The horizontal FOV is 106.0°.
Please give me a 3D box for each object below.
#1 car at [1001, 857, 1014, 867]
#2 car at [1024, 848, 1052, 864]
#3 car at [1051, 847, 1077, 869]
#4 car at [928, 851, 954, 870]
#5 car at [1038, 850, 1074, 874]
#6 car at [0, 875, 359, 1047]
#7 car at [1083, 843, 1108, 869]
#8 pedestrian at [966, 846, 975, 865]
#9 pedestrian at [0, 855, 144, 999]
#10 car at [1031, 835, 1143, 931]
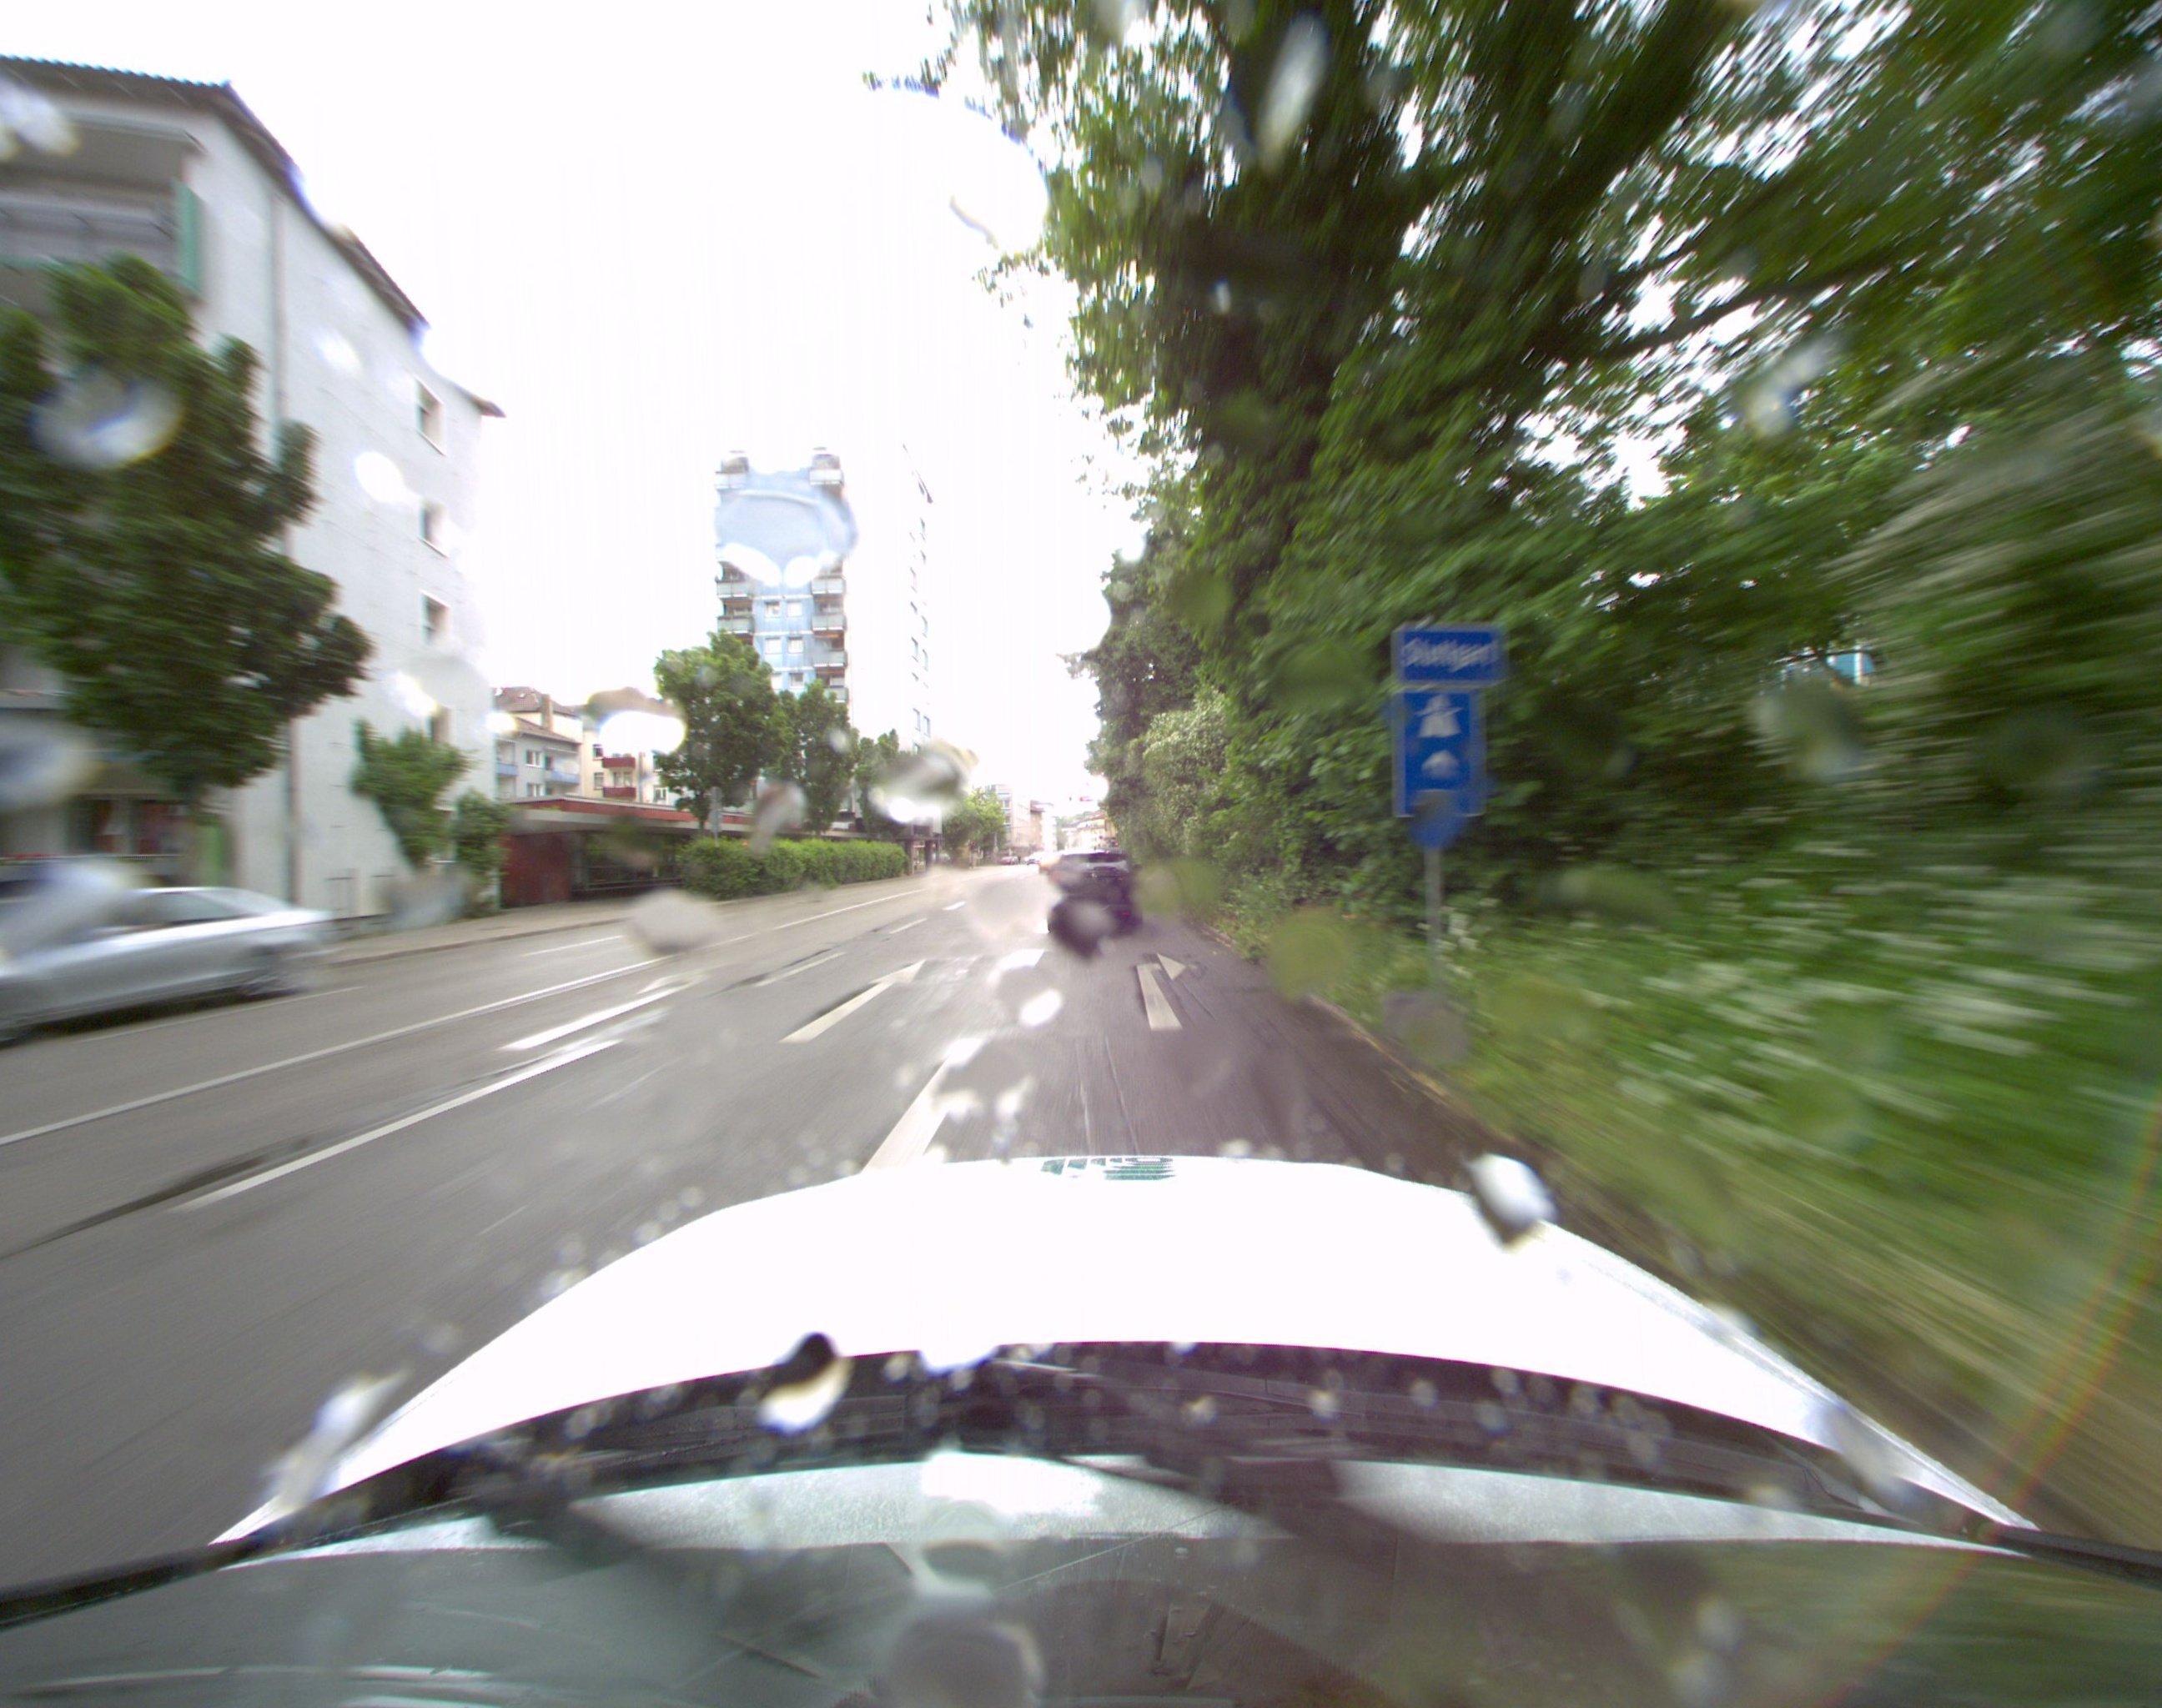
[{"bbox_3d":[-12.122,1.361,134.690,1.667,1.478,3.607,-3,0,-1],"label":"car"},{"bbox_3d":[-4.942,0.240,94.632,1.980,1.750,4.823,-2,0,12],"label":"car"},{"bbox_3d":[-1.240,0.292,61.130,1.738,1.487,4.162,-2,0,1],"label":"car"},{"bbox_3d":[-13.134,0.619,76.689,1.533,1.706,4.288,-1,0,1],"label":"car"},{"bbox_3d":[-1.631,0.490,54.321,2.058,1.464,4.588,-2,0,2],"label":"car"},{"bbox_3d":[-10.504,1.049,8.498,1.869,1.390,4.622,-3,0,-3],"label":"car"},{"bbox_3d":[1.170,0.144,67.065,1.987,2.013,4.000,-2,0,0],"label":"car"},{"bbox_3d":[-12.472,0.157,91.829,0.940,2.013,0.884,-2,0,-8],"label":"pedestrian"},{"bbox_3d":[-13.861,0.933,10.885,1.132,1.804,1.262,-2,0,-3],"label":"pedestrian"},{"bbox_3d":[0.111,0.501,16.559,1.953,1.652,4.000,-2,0,0],"label":"car"}]
